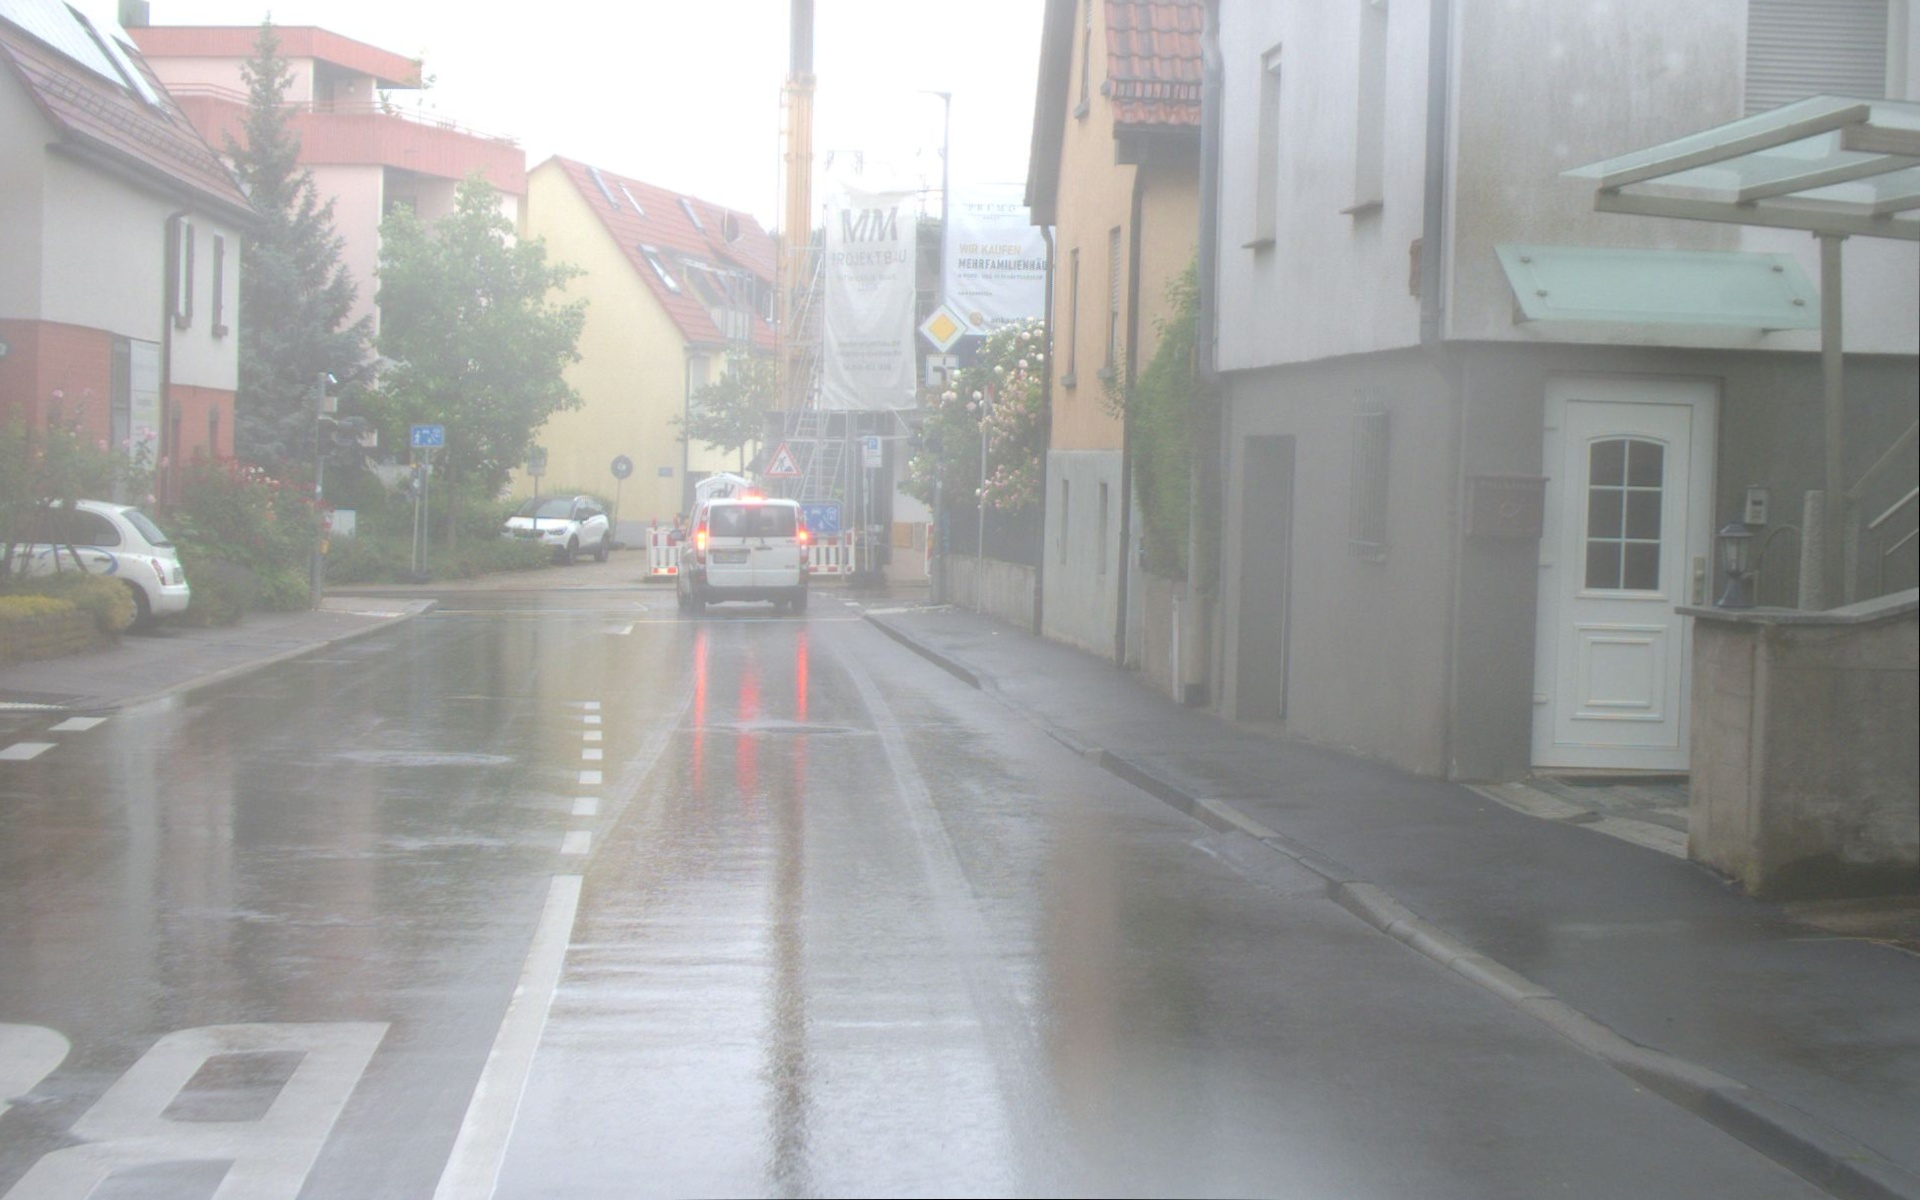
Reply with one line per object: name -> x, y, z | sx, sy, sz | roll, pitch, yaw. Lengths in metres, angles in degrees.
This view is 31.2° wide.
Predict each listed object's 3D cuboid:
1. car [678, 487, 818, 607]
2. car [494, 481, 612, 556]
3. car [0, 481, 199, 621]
car -> -3.498, -0.861, 56.132 | 2.181, 1.863, 4.001 | 1, 1, -4
car -> -9.669, -1.975, 81.970 | 1.601, 1.672, 3.937 | 2, 3, 11
car -> -10.996, -0.624, 40.806 | 3.544, 1.524, 1.663 | 3, 1, -3
